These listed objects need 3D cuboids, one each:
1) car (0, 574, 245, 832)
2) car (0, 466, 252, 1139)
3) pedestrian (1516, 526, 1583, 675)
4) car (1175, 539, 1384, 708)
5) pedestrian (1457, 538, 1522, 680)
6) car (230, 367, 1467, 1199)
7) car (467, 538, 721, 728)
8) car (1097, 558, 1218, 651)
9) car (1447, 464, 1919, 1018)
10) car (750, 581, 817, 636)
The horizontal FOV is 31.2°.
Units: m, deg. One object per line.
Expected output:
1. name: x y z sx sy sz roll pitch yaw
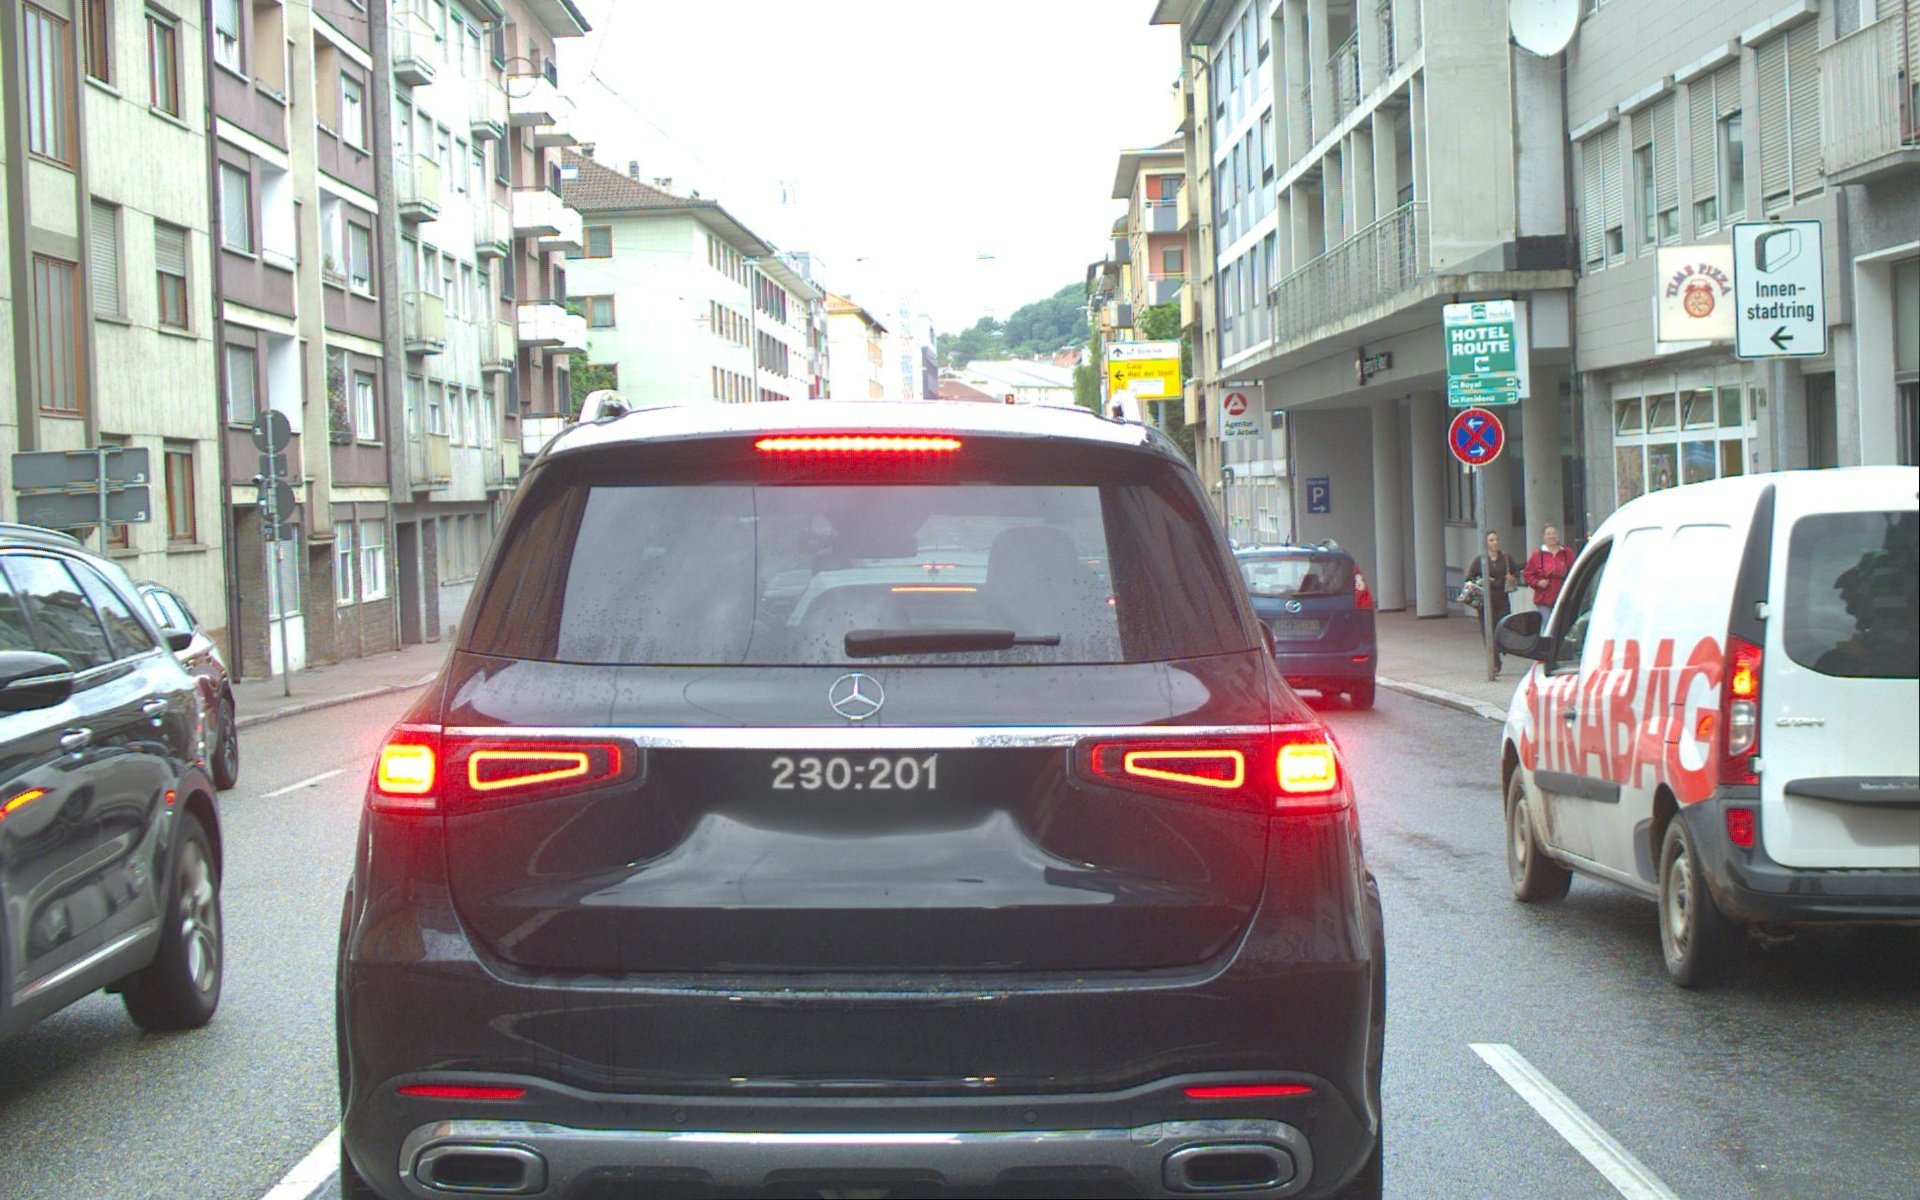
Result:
1. car: -6.266 0.669 24.241 1.797 1.579 4.317 -4 1 -5
2. car: -3.420 0.557 9.688 1.836 1.721 4.475 -4 1 0
3. pedestrian: 6.404 -0.002 37.374 0.560 1.573 0.526 -4 1 4
4. car: 3.161 0.191 34.701 1.808 1.600 4.212 0 1 1
5. pedestrian: 5.725 0.093 37.166 0.506 1.495 0.562 -4 1 -1
6. car: -0.226 0.499 7.691 2.025 1.799 4.000 1 1 -1
7. car: -3.714 0.282 35.733 2.126 1.715 4.818 -3 1 -1
8. car: 3.172 0.043 55.906 1.621 1.425 4.312 1 1 -1
9. car: 3.247 0.414 13.349 1.940 1.769 4.746 0 1 -1
10. car: -5.024 0.230 97.858 1.767 1.341 3.889 -5 1 -3
